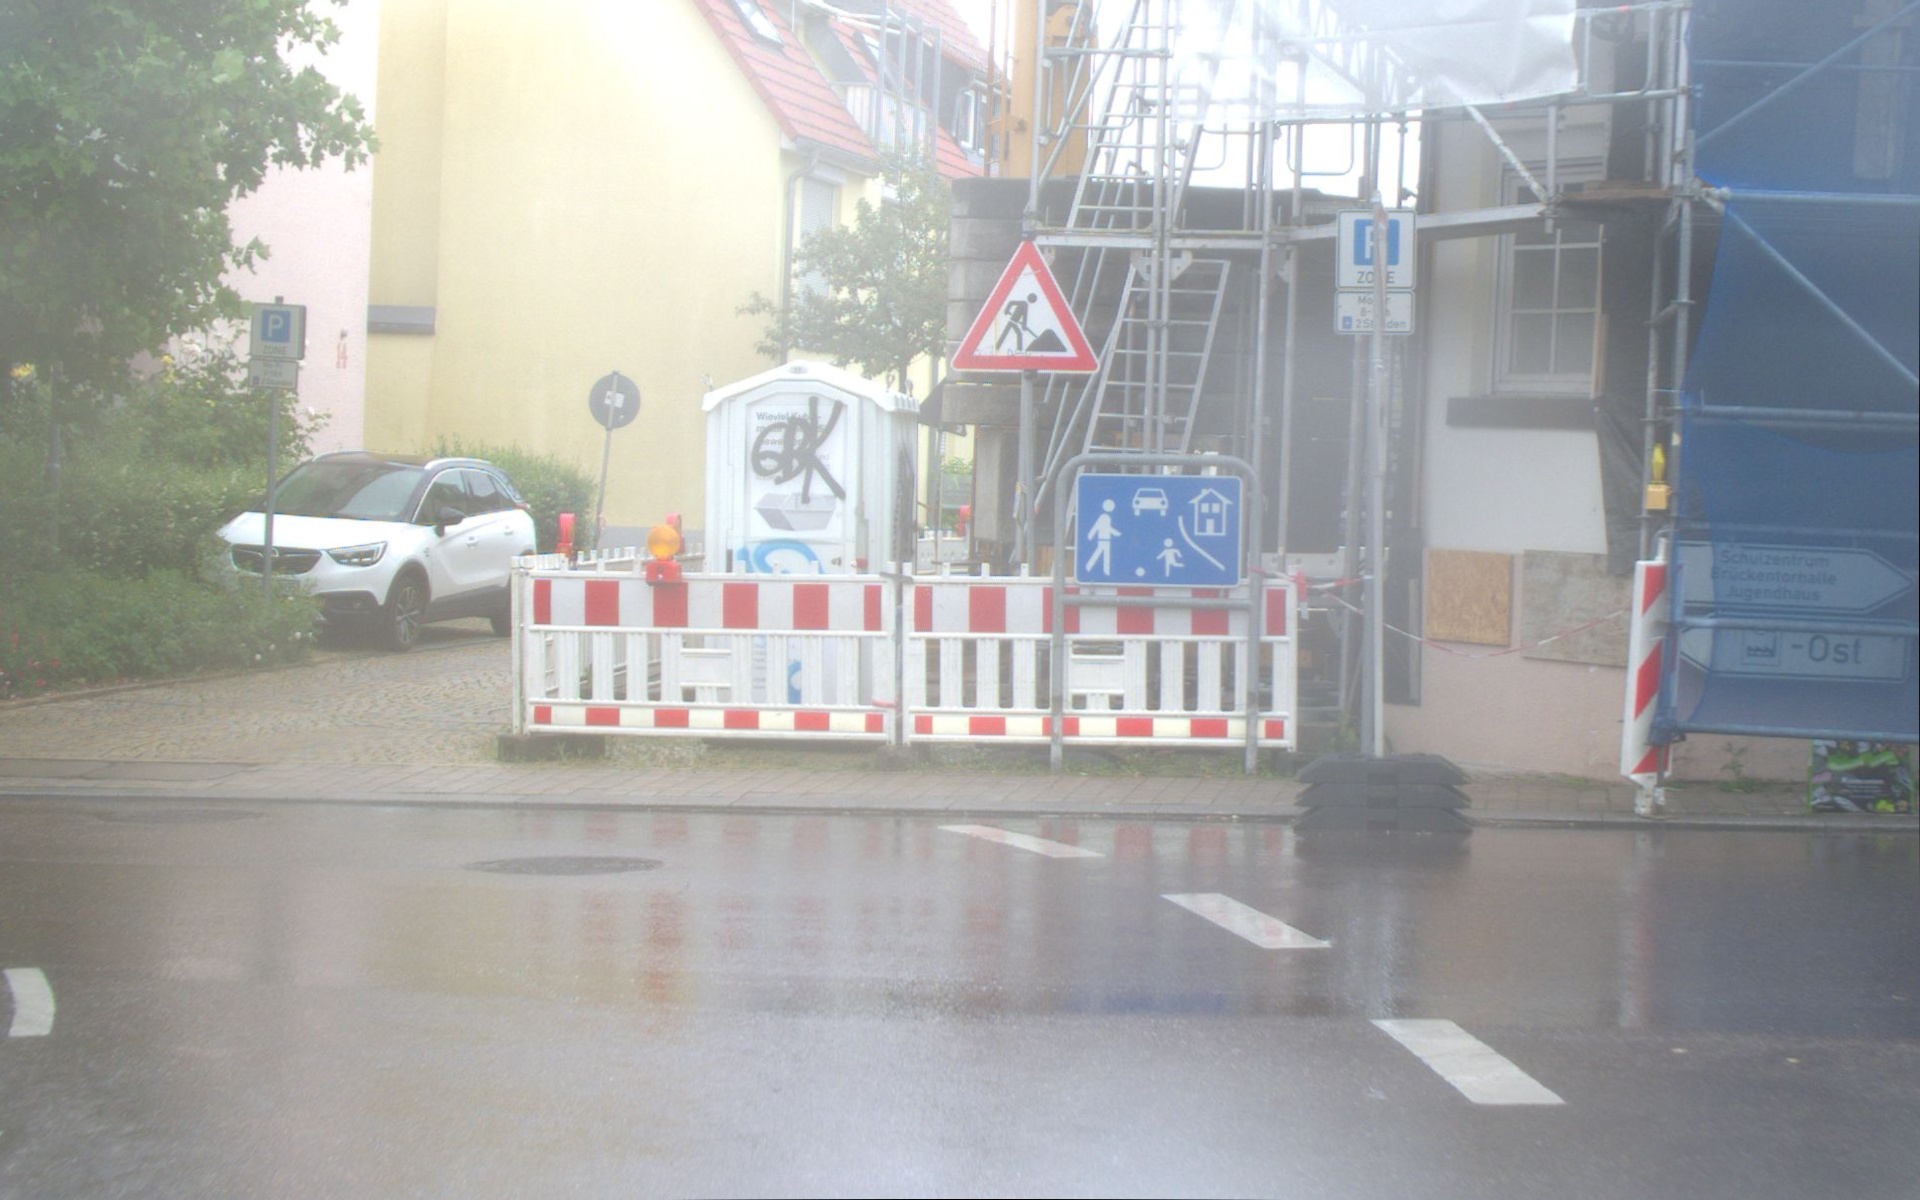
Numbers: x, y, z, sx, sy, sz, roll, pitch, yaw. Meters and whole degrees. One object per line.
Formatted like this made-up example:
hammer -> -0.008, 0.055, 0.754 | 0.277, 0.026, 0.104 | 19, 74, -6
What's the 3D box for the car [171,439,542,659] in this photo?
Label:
car -> -5.093, -0.486, 29.519 | 1.601, 1.672, 3.936 | 4, 3, 14
